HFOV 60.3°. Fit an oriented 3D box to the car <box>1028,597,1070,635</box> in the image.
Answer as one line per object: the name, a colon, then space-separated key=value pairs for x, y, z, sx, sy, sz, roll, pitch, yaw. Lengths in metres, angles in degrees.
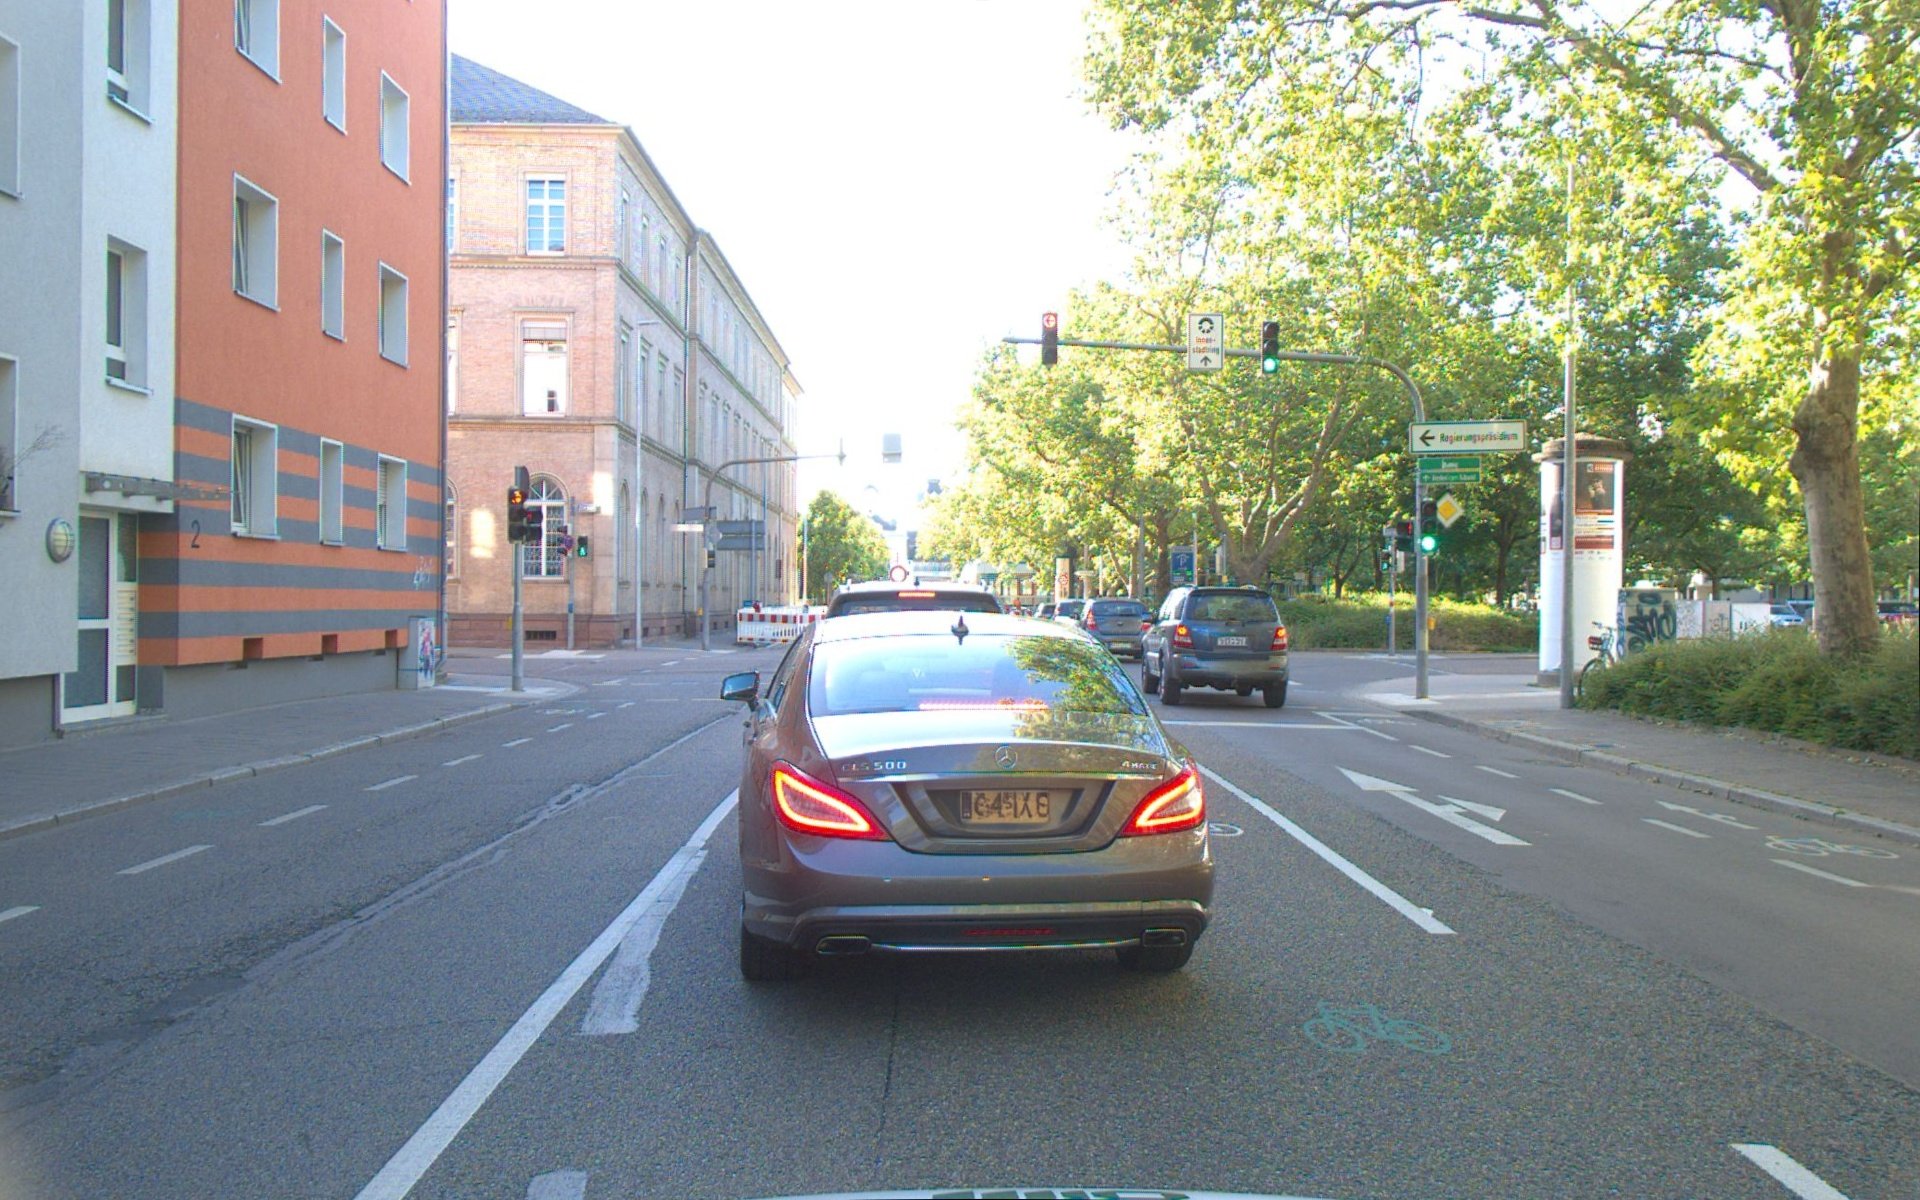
car: x=3.813 y=0.667 z=71.262 sx=1.568 sy=1.576 sz=3.680 roll=1 pitch=0 yaw=-1

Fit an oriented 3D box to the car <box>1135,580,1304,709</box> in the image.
car: x=3.879 y=0.615 z=25.448 sx=1.823 sy=1.794 sz=4.481 roll=1 pitch=0 yaw=-1

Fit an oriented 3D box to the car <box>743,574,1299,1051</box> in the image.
car: x=-0.033 y=0.689 z=7.471 sx=1.826 sy=1.545 sz=3.993 roll=1 pitch=0 yaw=-8

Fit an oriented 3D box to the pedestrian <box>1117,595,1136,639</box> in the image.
pedestrian: x=6.853 y=0.704 z=68.060 sx=0.623 sy=1.791 sz=0.698 roll=1 pitch=-1 yaw=-5

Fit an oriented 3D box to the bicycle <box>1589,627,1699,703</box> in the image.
bicycle: x=9.873 y=0.922 z=23.843 sx=1.868 sy=1.046 sz=0.633 roll=1 pitch=-1 yaw=-39

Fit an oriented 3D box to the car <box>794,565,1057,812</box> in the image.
car: x=-0.269 y=0.618 z=13.598 sx=1.823 sy=1.712 sz=3.999 roll=1 pitch=0 yaw=-1

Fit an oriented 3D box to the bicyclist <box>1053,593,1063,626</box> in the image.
bicyclist: x=6.225 y=0.604 z=105.028 sx=0.583 sy=2.075 sz=0.565 roll=1 pitch=-1 yaw=-5

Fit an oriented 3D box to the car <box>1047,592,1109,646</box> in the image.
car: x=3.827 y=0.609 z=54.012 sx=1.696 sy=1.691 sz=3.680 roll=1 pitch=0 yaw=-1

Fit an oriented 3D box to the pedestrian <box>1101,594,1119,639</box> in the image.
pedestrian: x=6.168 y=0.680 z=67.988 sx=0.623 sy=1.828 sz=0.698 roll=1 pitch=-1 yaw=-5

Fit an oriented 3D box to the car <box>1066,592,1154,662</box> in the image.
car: x=3.515 y=0.601 z=39.354 sx=1.670 sy=1.545 sz=3.999 roll=1 pitch=0 yaw=-1
